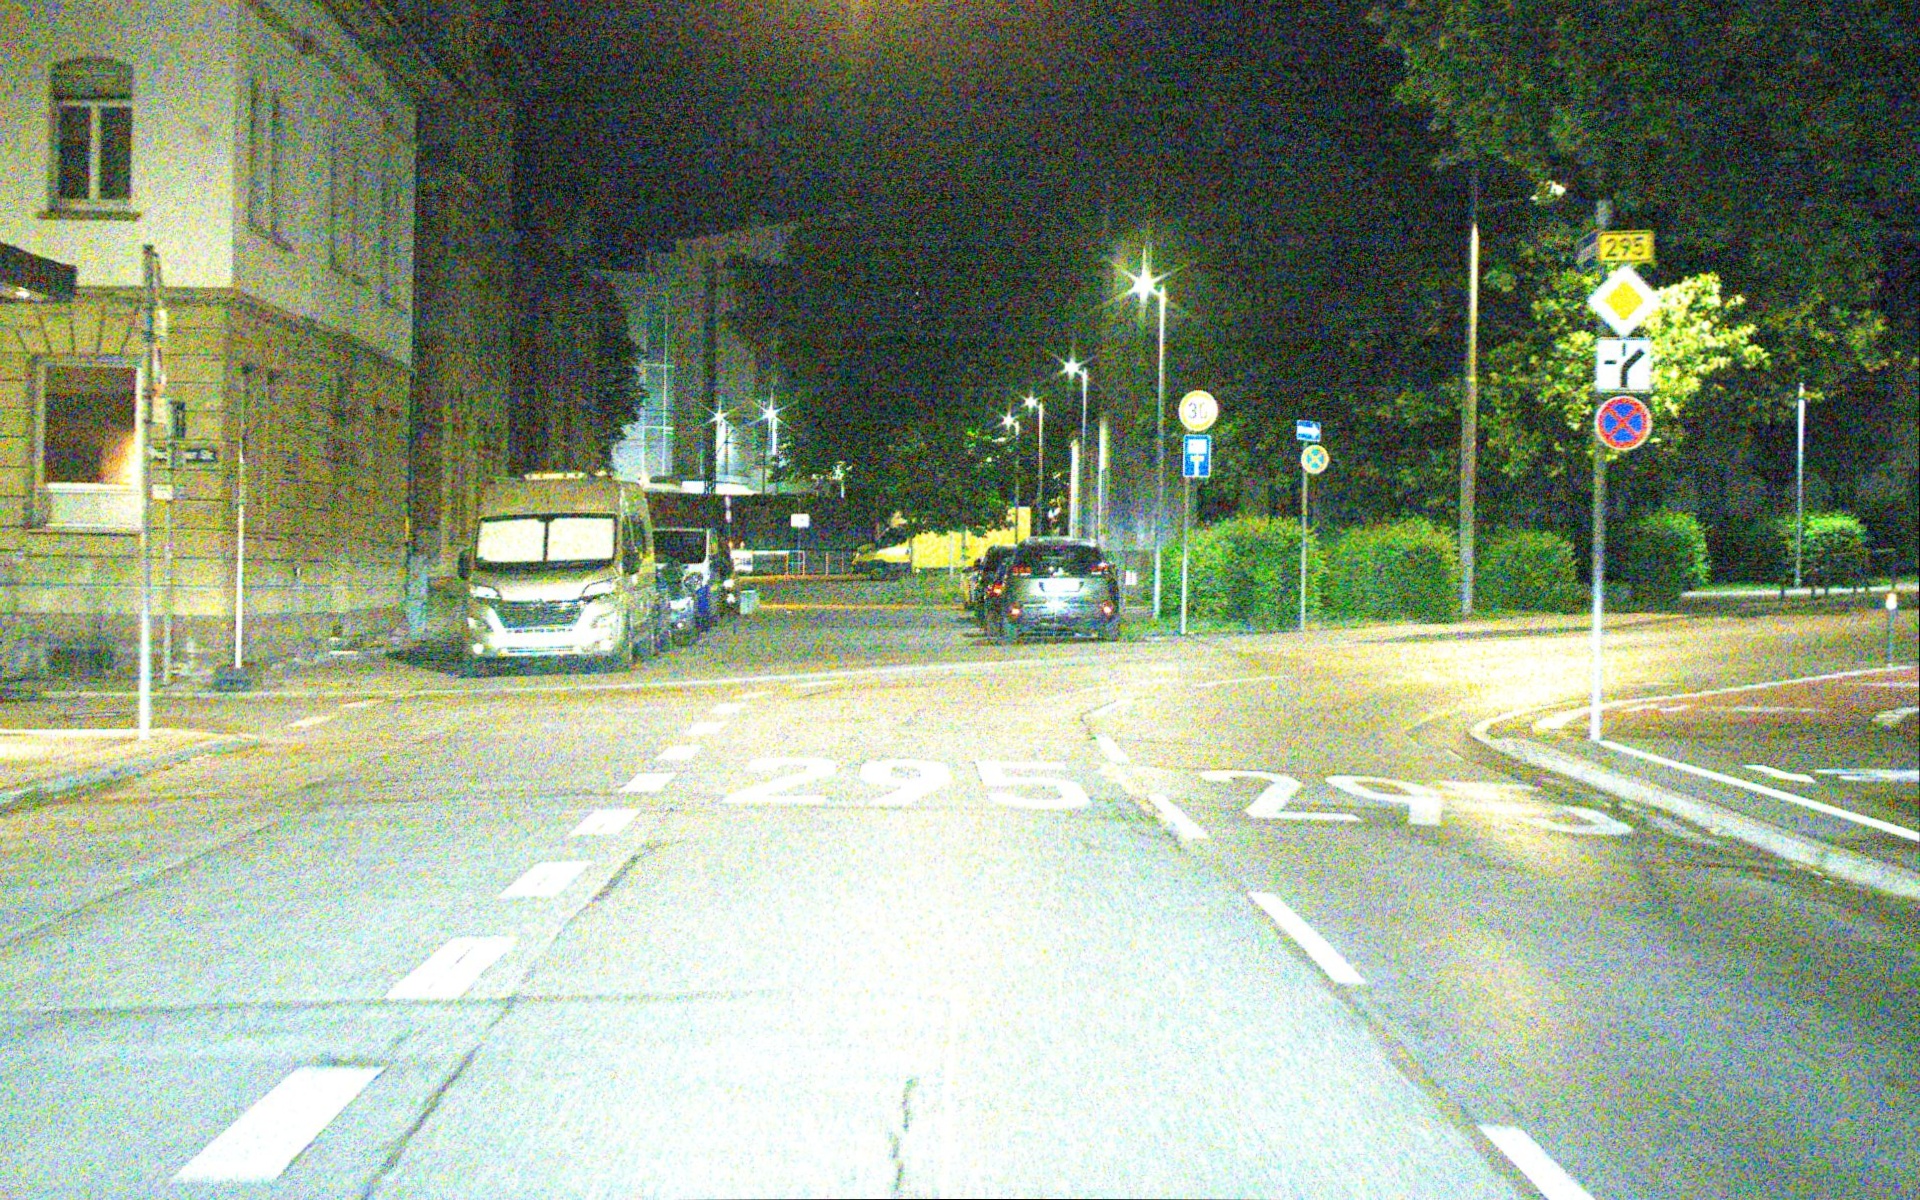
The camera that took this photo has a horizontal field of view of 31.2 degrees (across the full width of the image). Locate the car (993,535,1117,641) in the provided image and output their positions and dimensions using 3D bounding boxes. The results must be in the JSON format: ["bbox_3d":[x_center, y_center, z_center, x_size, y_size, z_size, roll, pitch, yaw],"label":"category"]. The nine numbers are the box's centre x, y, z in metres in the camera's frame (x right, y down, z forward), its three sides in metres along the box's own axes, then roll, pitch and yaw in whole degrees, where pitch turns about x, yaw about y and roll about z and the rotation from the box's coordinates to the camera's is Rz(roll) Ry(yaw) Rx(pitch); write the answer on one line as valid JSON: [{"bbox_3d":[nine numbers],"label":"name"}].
[{"bbox_3d":[1.505,-0.200,54.960,1.884,1.597,4.107,-1,0,1],"label":"car"}]

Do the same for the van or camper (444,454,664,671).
[{"bbox_3d":[-5.147,-0.478,44.419,2.158,2.527,6.227,-2,1,-1],"label":"van or camper"}]

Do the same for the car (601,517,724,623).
[{"bbox_3d":[-5.637,-0.582,65.679,1.993,1.948,4.806,0,1,-1],"label":"car"}]

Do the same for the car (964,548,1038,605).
[{"bbox_3d":[1.049,-0.631,89.109,1.758,1.440,4.026,0,1,-2],"label":"car"}]

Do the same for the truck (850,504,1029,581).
[{"bbox_3d":[-0.805,-2.218,132.489,6.775,2.834,2.000,1,1,-3],"label":"truck"}]

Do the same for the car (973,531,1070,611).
[{"bbox_3d":[1.366,-0.650,78.122,2.040,1.688,4.882,-2,0,0],"label":"car"}]

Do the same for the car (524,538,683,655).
[{"bbox_3d":[-5.127,-0.077,49.933,1.892,1.585,4.374,-1,1,-1],"label":"car"}]

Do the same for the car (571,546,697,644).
[{"bbox_3d":[-5.299,-0.105,55.407,1.838,1.502,4.743,0,1,-7],"label":"car"}]

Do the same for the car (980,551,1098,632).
[{"bbox_3d":[1.355,-0.151,60.500,1.963,1.378,4.000,0,0,0],"label":"car"}]

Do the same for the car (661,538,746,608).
[{"bbox_3d":[-5.797,-0.608,77.902,1.704,1.505,4.100,1,0,-2],"label":"car"}]
